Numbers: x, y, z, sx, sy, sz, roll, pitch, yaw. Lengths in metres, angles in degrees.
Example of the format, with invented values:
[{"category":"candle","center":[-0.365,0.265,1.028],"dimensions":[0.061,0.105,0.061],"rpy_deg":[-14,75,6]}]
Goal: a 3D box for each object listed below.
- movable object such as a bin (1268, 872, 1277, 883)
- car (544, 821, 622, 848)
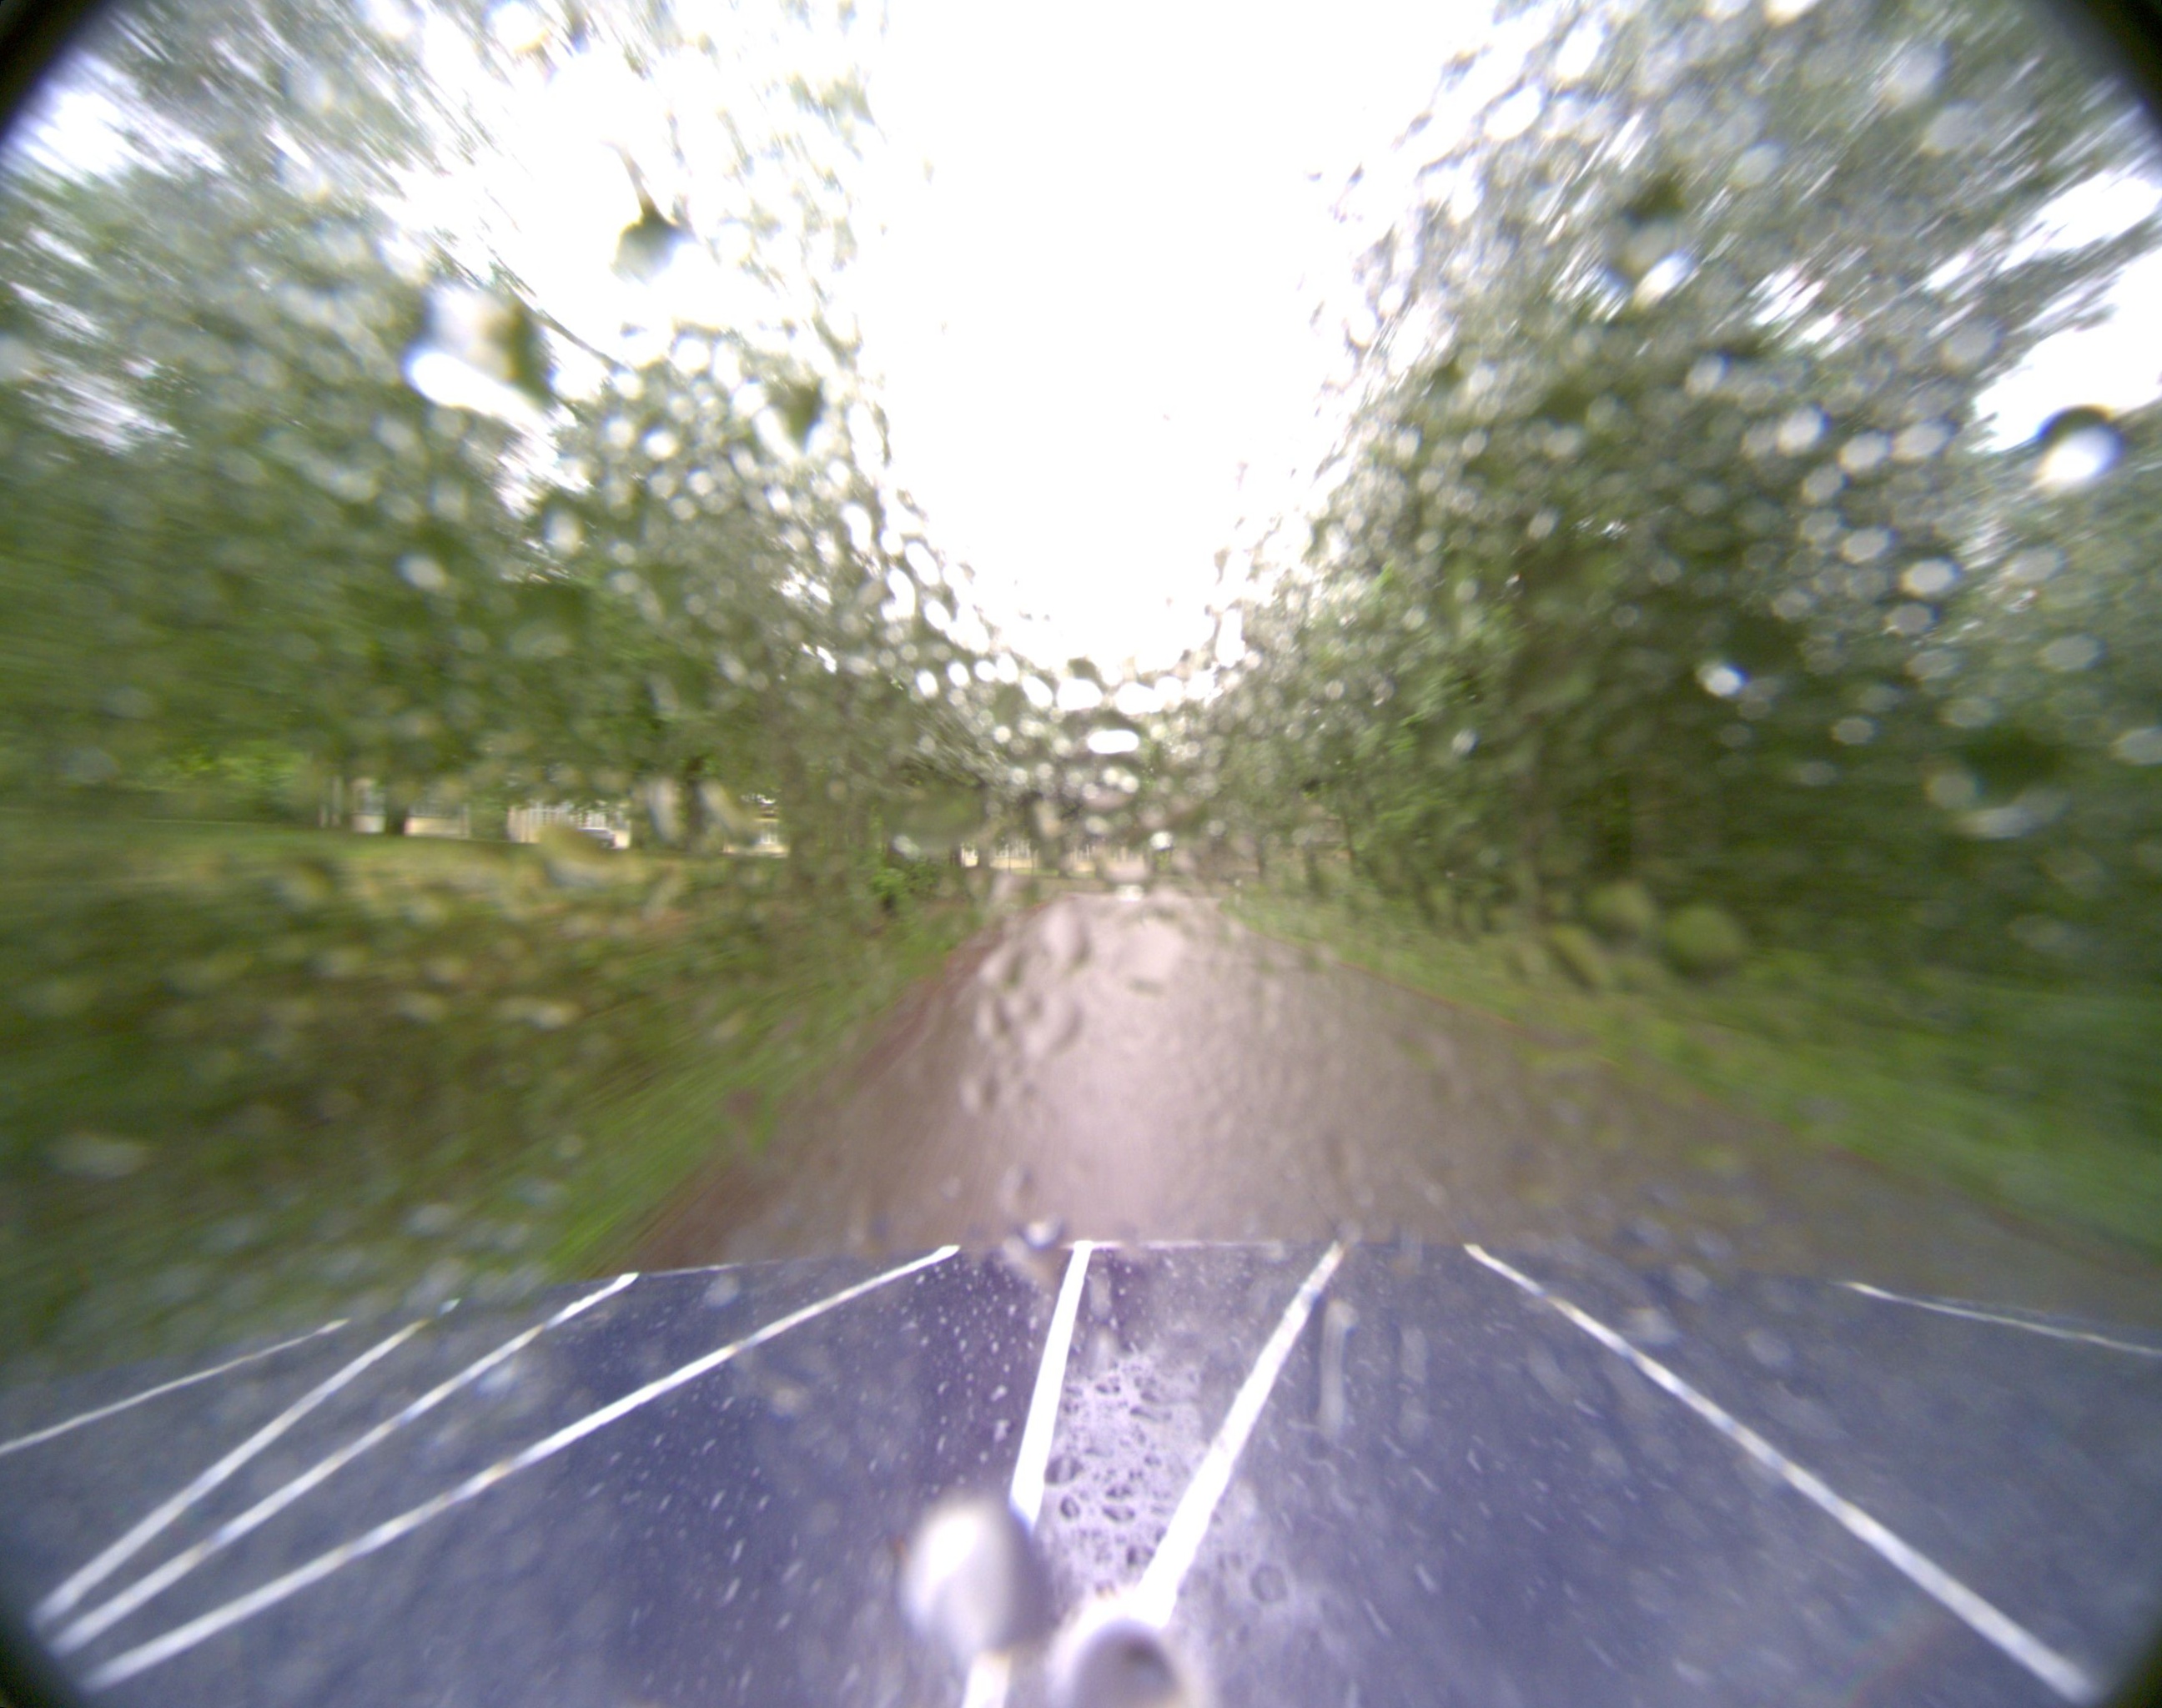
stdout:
[{"category":"movable object such as a bin","center":[18.275,2.241,72.615],"dimensions":[0.631,1.068,0.762],"rpy_deg":[0,-1,32]},{"category":"car","center":[-37.412,-1.407,57.184],"dimensions":[1.994,1.824,4.577],"rpy_deg":[0,-1,45]}]
